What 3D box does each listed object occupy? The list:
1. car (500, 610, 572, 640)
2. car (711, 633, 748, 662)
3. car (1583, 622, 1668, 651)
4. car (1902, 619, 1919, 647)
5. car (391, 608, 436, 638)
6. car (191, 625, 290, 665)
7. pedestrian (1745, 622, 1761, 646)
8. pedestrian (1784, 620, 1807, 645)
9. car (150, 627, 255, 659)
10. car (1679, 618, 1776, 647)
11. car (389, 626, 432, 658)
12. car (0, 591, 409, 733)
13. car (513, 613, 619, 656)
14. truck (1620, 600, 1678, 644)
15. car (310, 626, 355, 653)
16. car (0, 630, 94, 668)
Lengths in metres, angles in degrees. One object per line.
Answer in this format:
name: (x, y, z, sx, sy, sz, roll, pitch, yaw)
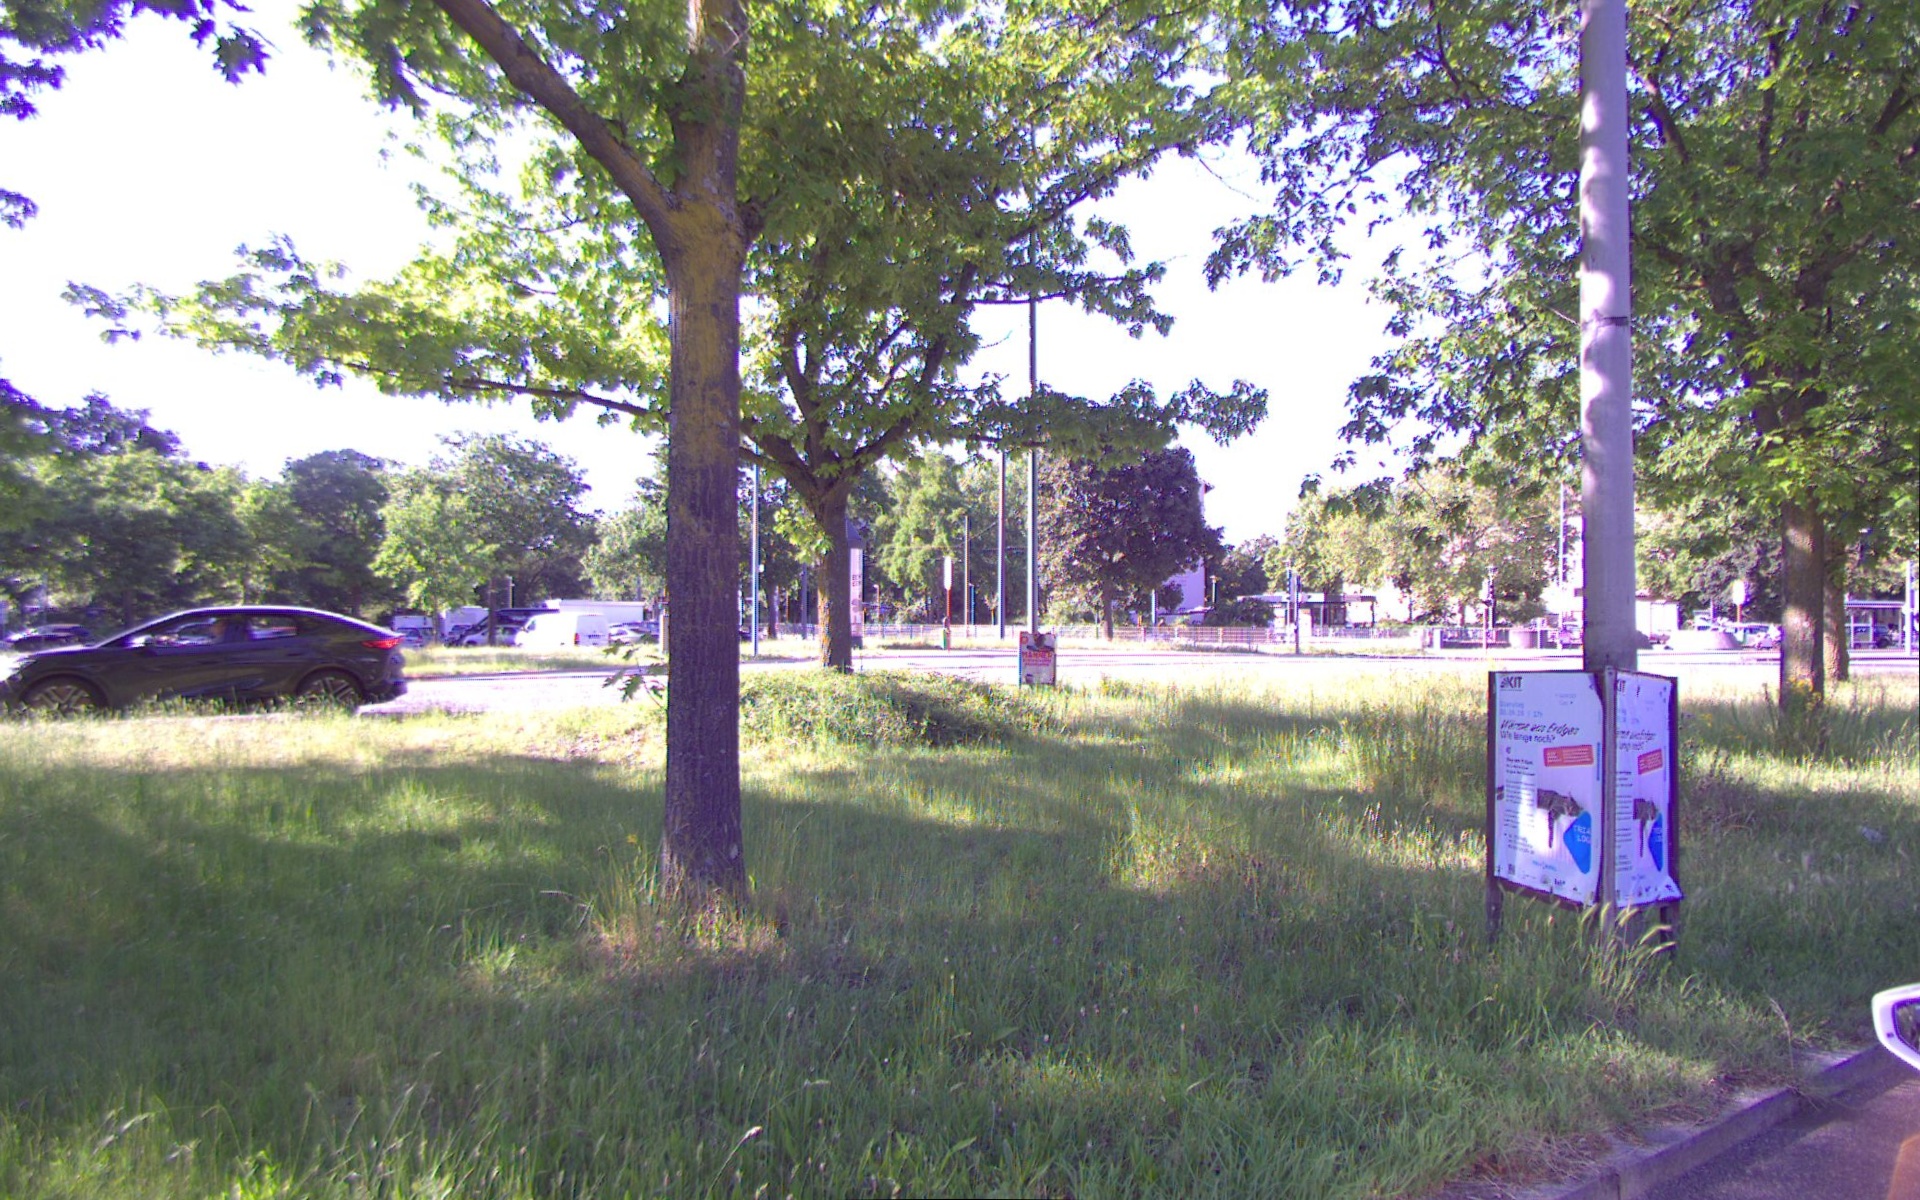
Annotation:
car: (-24.126, 1.407, 57.295, 3.698, 1.691, 1.883, 1, -1, -23)
car: (-12.027, 2.449, 52.492, 1.589, 1.438, 3.073, 0, -1, -8)
car: (41.422, 2.249, 62.569, 3.919, 1.706, 2.001, 0, -1, 9)
car: (71.939, 2.398, 73.403, 1.910, 2.040, 4.155, 1, -1, -31)
car: (-32.484, 1.358, 59.792, 1.865, 1.691, 3.733, 1, -1, -22)
car: (-25.230, 1.557, 35.249, 2.769, 1.323, 1.326, 1, -1, -40)
pedestrian: (47.222, 2.011, 59.825, 0.614, 1.409, 0.416, 0, -1, -3)
pedestrian: (53.669, 2.088, 64.557, 0.781, 1.629, 0.923, 0, -1, 9)
car: (-26.839, 1.498, 35.634, 1.315, 1.078, 2.777, 0, -1, 42)
car: (46.911, 1.964, 61.468, 4.233, 1.706, 2.001, 0, -1, 9)
car: (-26.697, 2.022, 48.784, 1.602, 1.438, 3.050, 1, -1, -33)
car: (-10.072, 0.768, 13.655, 4.412, 1.669, 1.816, 1, -1, -33)
car: (-17.214, 1.469, 43.806, 4.670, 1.762, 2.024, 0, -1, 34)
truck: (46.645, 1.477, 68.093, 1.960, 2.842, 4.002, 0, -1, 15)
car: (-29.290, 1.818, 46.871, 1.603, 1.194, 3.047, 1, -1, -35)
car: (-47.655, 2.488, 51.910, 1.966, 1.817, 3.990, 0, -1, 32)
